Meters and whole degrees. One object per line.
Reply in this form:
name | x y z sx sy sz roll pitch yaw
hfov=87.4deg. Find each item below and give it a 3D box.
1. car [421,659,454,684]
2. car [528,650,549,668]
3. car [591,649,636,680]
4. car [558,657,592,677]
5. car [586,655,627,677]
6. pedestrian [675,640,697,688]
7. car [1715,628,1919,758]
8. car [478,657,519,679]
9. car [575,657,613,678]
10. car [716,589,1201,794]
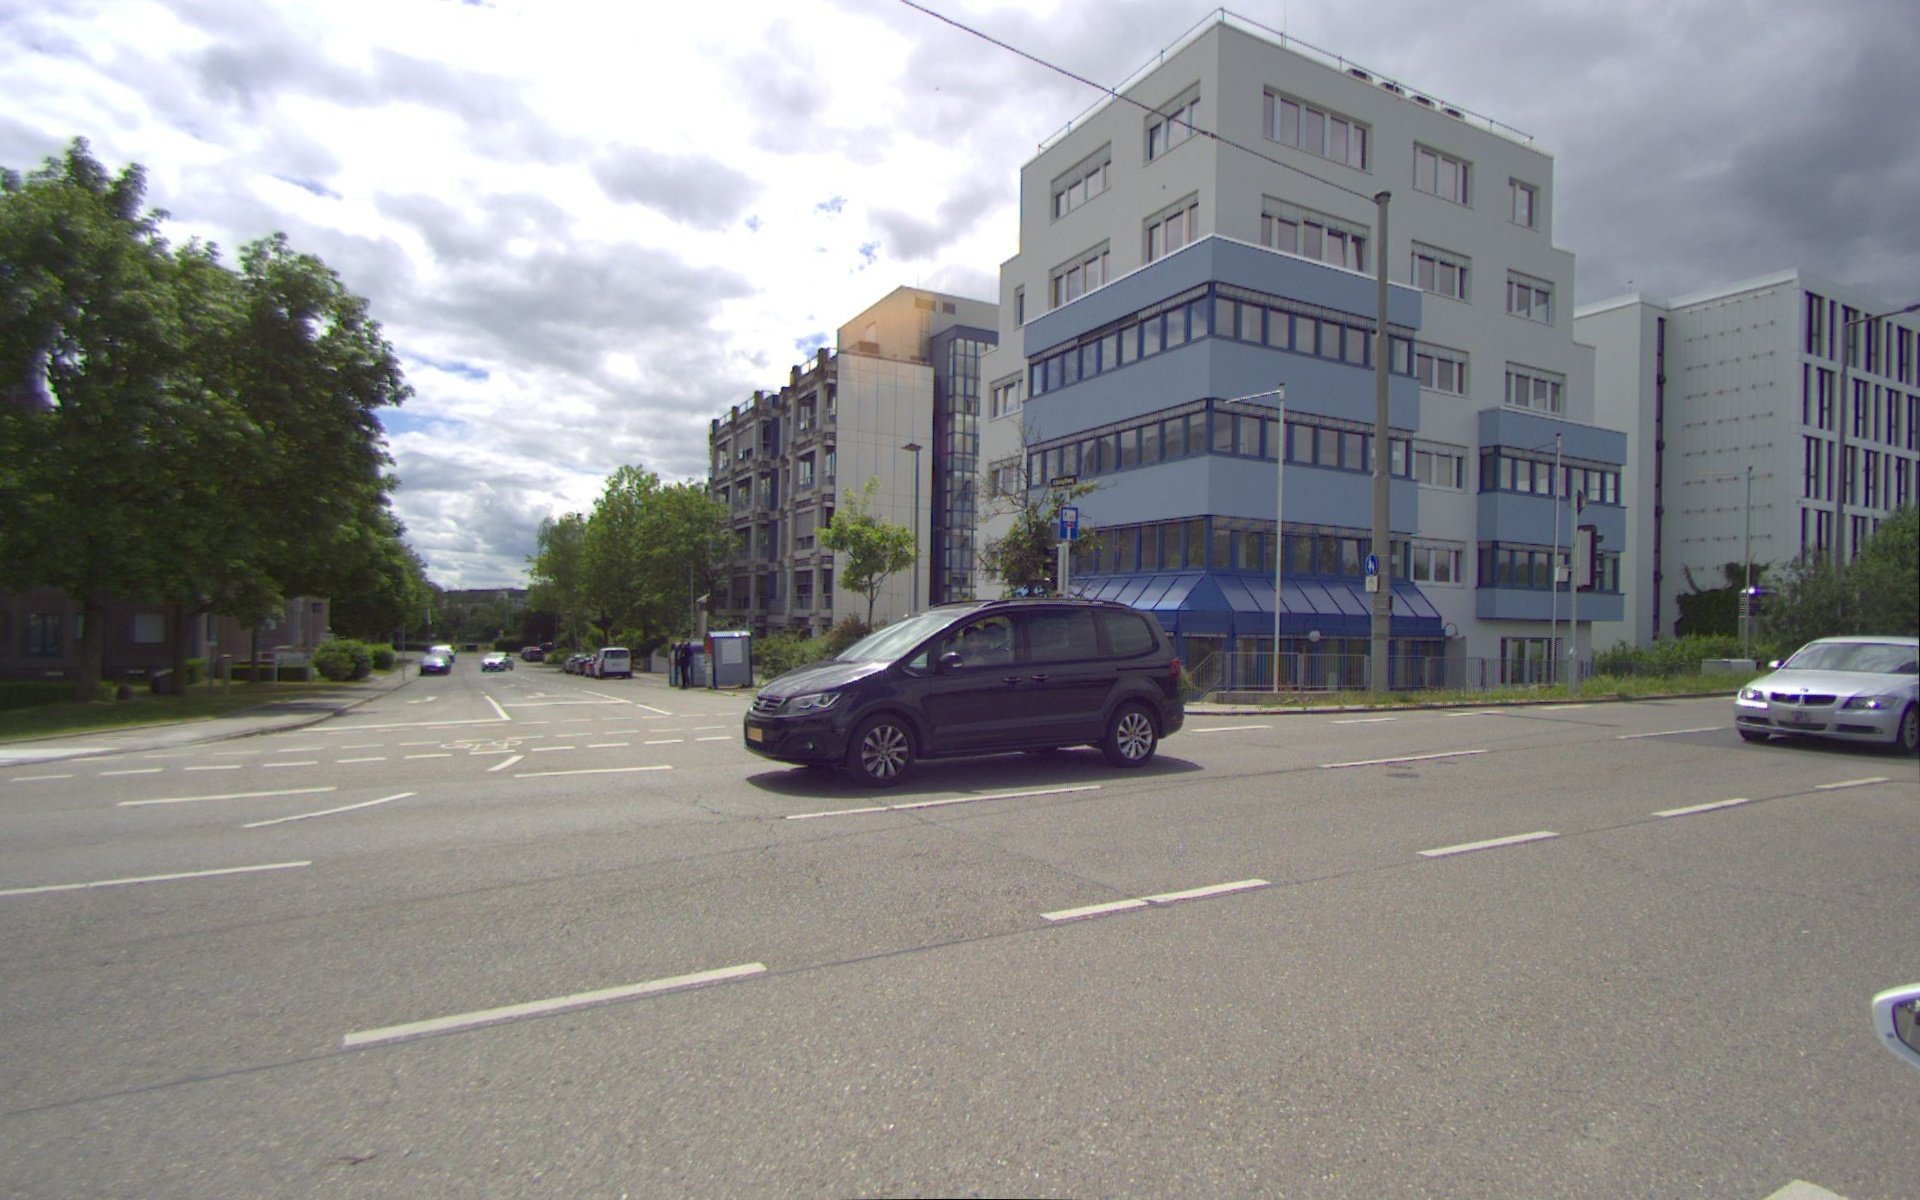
car | -36.737 5.010 70.559 1.976 1.528 3.970 1 -1 -29
car | -48.033 6.682 114.453 1.973 2.040 3.976 1 -3 -25
car | -19.982 3.741 57.840 1.974 1.714 3.631 1 -4 -27
car | -28.035 4.883 73.083 1.974 1.347 3.631 1 -4 -27
car | -22.299 4.156 63.285 1.974 1.347 3.631 1 -4 -27
pedestrian | -9.604 2.246 35.176 0.613 1.666 0.745 1 -4 -28
car | 12.267 1.148 13.551 4.370 1.467 1.783 1 -1 -30
car | -36.726 5.417 79.997 1.964 1.528 3.993 1 -1 -10
car | -24.725 4.542 67.764 1.974 1.347 3.631 1 -4 -27
car | 0.041 0.825 10.480 4.701 1.725 1.986 1 -1 -28
